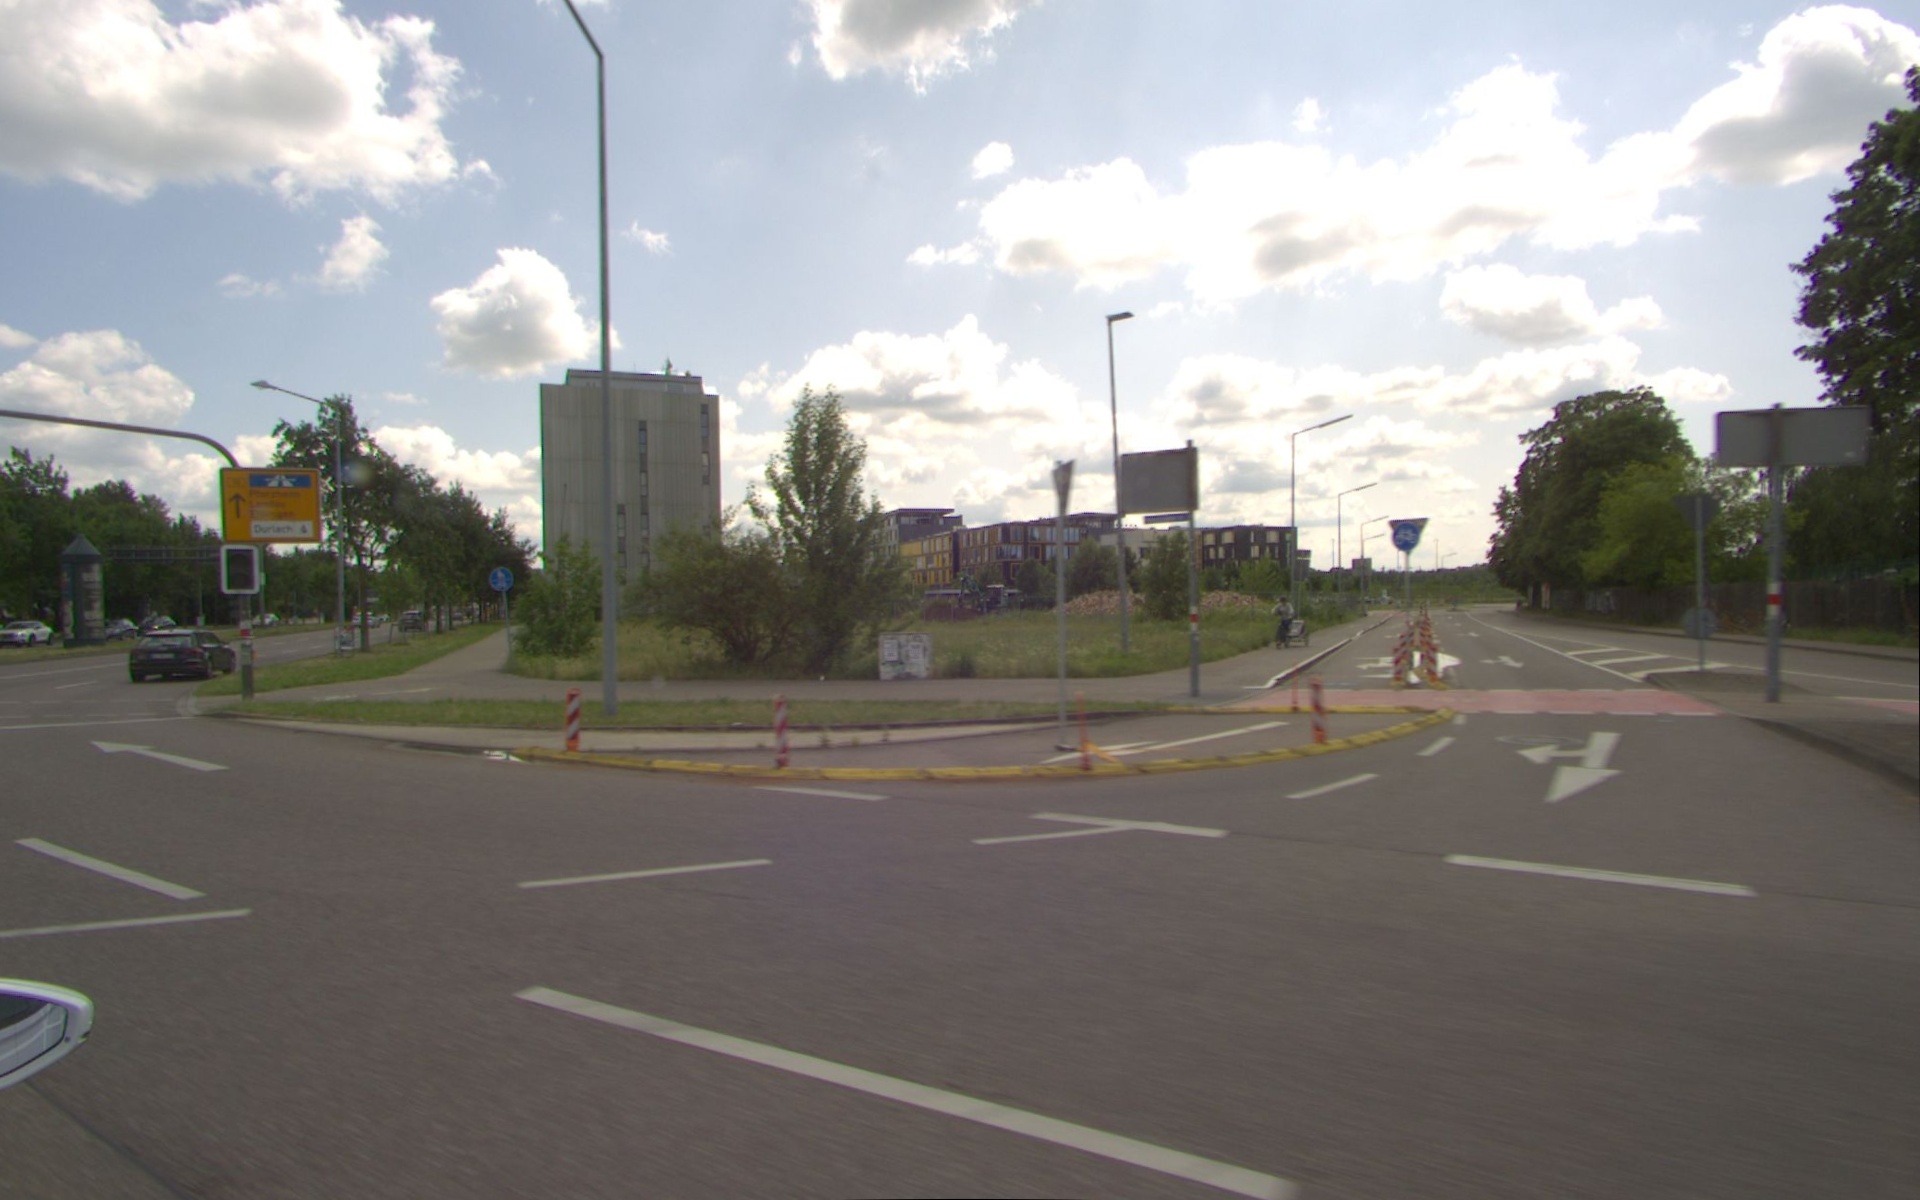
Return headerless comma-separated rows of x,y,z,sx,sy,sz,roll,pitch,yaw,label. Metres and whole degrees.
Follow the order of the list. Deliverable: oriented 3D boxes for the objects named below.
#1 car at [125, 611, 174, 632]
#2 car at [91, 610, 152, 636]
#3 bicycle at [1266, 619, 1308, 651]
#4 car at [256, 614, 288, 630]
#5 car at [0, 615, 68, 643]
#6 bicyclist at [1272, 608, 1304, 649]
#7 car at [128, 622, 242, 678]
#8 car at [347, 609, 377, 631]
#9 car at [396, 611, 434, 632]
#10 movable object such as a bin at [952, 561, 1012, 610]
-66.884,1.761,82.685,1.740,1.598,5.015,-2,0,-23,car
-57.415,1.554,68.661,1.699,1.612,4.997,-2,0,-22,car
10.935,1.166,33.416,0.863,1.030,2.534,0,-2,29,bicycle
-69.529,2.213,101.231,1.739,1.459,4.296,-2,0,-22,car
-57.365,1.758,61.906,1.884,1.561,4.354,-2,0,-22,car
10.928,0.955,33.385,0.863,1.341,0.809,0,-2,31,bicyclist
-22.646,1.409,29.408,1.662,1.482,3.987,1,-1,-23,car
-55.589,1.836,93.156,1.968,2.040,3.985,1,-1,-25,car
-45.109,1.735,82.922,1.965,1.647,4.301,0,0,-17,car
2.037,-1.215,88.653,2.996,3.901,7.603,0,-2,21,movable object such as a bin
